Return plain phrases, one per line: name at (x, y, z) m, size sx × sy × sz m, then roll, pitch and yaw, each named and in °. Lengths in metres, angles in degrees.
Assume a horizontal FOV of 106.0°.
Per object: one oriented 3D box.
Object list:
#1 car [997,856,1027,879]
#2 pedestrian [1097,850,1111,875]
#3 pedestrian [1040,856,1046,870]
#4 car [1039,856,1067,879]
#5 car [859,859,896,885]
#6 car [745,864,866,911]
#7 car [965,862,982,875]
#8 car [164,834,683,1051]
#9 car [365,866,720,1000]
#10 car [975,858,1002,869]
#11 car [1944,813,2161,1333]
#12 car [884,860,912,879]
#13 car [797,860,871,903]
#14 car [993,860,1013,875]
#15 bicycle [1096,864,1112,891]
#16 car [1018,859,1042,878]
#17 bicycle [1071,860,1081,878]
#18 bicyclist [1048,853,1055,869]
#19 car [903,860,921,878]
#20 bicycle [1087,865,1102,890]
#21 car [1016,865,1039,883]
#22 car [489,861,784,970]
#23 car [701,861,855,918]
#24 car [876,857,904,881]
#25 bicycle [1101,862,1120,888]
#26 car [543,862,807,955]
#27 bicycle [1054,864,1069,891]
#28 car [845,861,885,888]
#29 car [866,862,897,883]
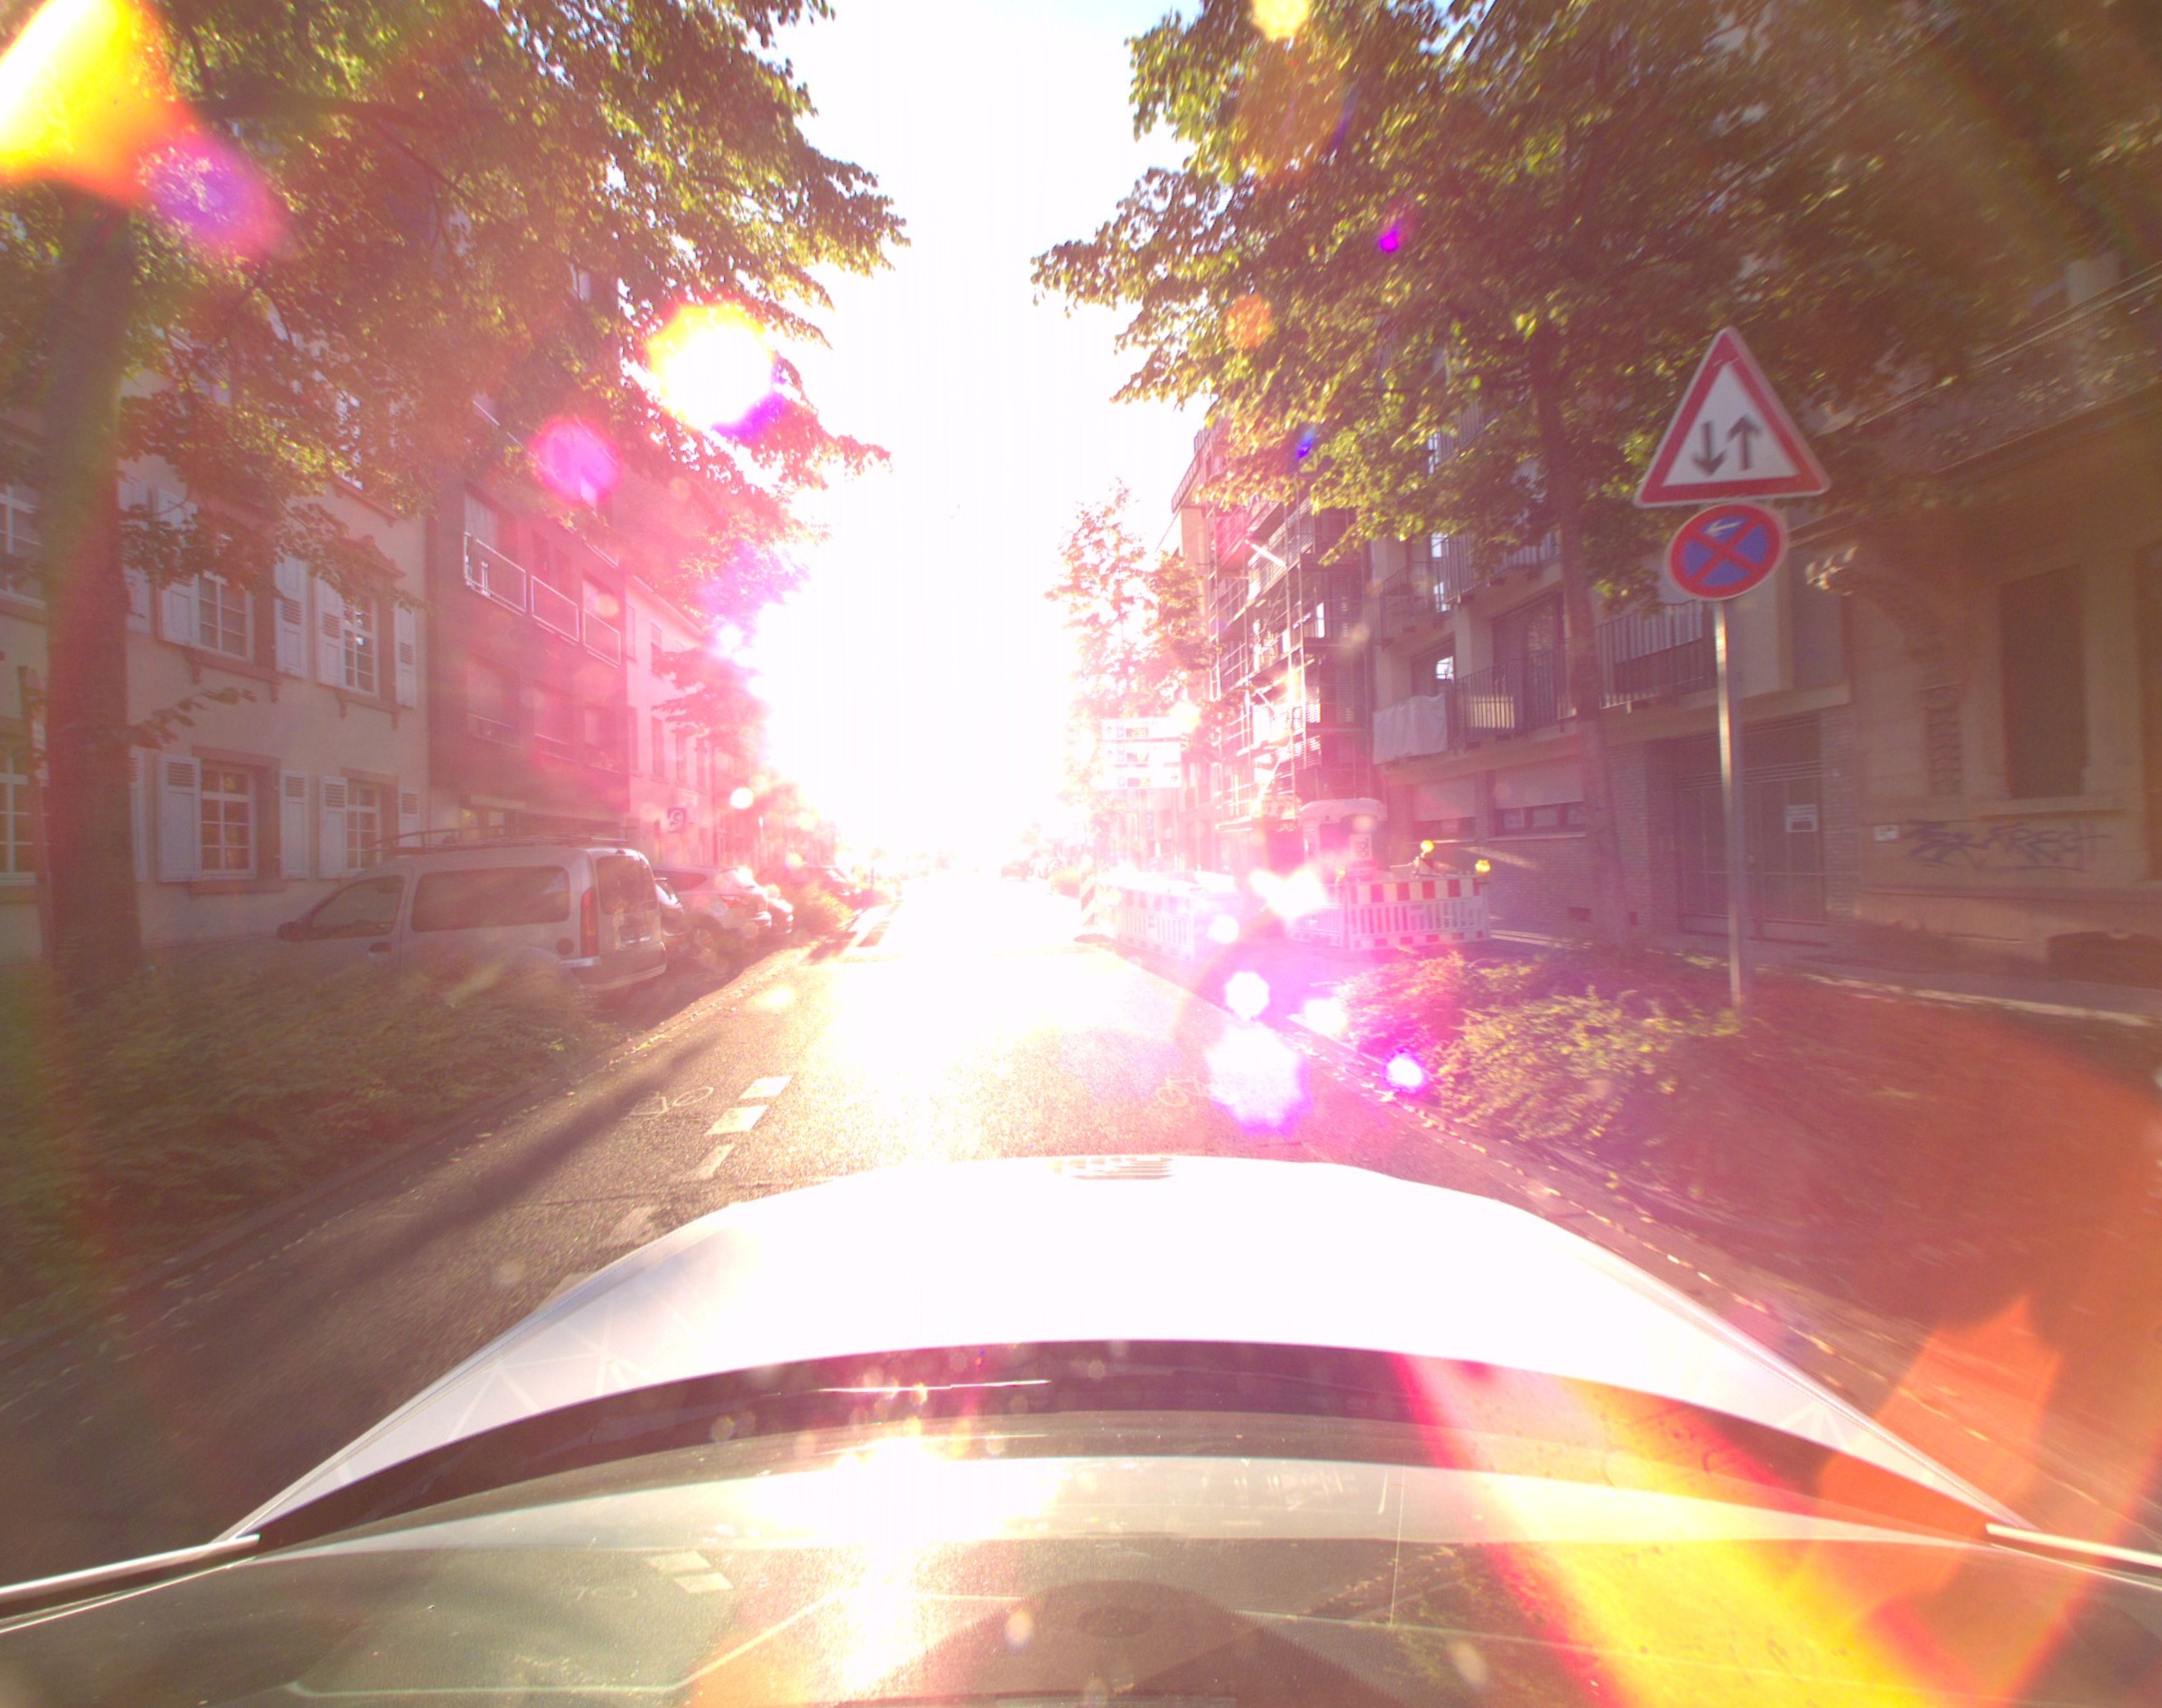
car at (-5.092, 0.987, 59.705) m, size 1.993 × 1.655 × 4.661 m, roll 0°, pitch -1°, yaw -7°
pedestrian at (1.615, 0.594, 56.602) m, size 0.810 × 1.646 × 0.604 m, roll -3°, pitch -1°, yaw -8°
pedestrian at (-4.793, 1.087, 102.526) m, size 0.686 × 1.721 × 0.716 m, roll -3°, pitch -1°, yaw -2°
car at (-2.030, 0.995, 59.005) m, size 1.633 × 1.553 × 2.685 m, roll -2°, pitch 0°, yaw -10°
car at (-13.434, 1.156, 53.924) m, size 1.772 × 1.633 × 4.227 m, roll -2°, pitch 0°, yaw -7°
car at (-8.897, 1.053, 26.491) m, size 3.392 × 1.392 × 1.683 m, roll -1°, pitch 0°, yaw -6°
car at (-12.672, 1.717, 96.082) m, size 1.882 × 1.415 × 4.313 m, roll -1°, pitch -1°, yaw -7°
car at (-6.463, 0.803, 8.396) m, size 3.804 × 1.849 × 1.697 m, roll -2°, pitch -1°, yaw -5°
car at (-7.138, 1.001, 11.099) m, size 3.641 × 1.515 × 1.647 m, roll -2°, pitch 0°, yaw -3°
car at (-13.650, 1.417, 120.325) m, size 3.640 × 1.483 × 1.616 m, roll -2°, pitch 1°, yaw -38°
car at (5.335, 0.514, 2.107) m, size 4.520 × 1.479 × 1.864 m, roll -3°, pitch 0°, yaw -6°
car at (-16.553, 1.371, 73.901) m, size 1.825 × 1.556 × 5.123 m, roll -3°, pitch 0°, yaw -7°
car at (-10.158, 1.101, 33.611) m, size 2.695 × 1.520 × 1.566 m, roll -3°, pitch 1°, yaw -11°
car at (-8.087, 1.378, 84.170) m, size 1.920 × 1.415 × 4.536 m, roll 1°, pitch -1°, yaw -7°
bicycle at (1.052, 1.063, 37.309) m, size 0.382 × 1.189 × 1.517 m, roll -1°, pitch -1°, yaw -11°
car at (-4.135, 1.133, 65.741) m, size 1.632 × 1.424 × 3.746 m, roll -2°, pitch 0°, yaw -8°
bicycle at (-0.357, 1.058, 58.304) m, size 0.397 × 1.234 × 1.819 m, roll -2°, pitch 0°, yaw -10°
bicyclist at (-3.205, 0.721, 88.824) m, size 0.650 × 1.702 × 1.092 m, roll -2°, pitch -1°, yaw -8°
car at (-18.448, 1.656, 89.043) m, size 1.834 × 1.854 × 4.108 m, roll -1°, pitch -1°, yaw -11°
bicycle at (0.614, 1.071, 37.242) m, size 0.382 × 1.100 × 1.517 m, roll -1°, pitch -1°, yaw -11°
car at (-4.811, 1.775, 72.655) m, size 1.702 × 1.436 × 3.921 m, roll -4°, pitch 0°, yaw -7°
car at (-7.061, 0.938, 13.298) m, size 3.819 × 1.585 × 1.738 m, roll -1°, pitch -1°, yaw -5°
car at (-8.810, 1.013, 23.973) m, size 3.890 × 1.517 × 1.852 m, roll -1°, pitch 0°, yaw -8°
car at (-15.735, 1.218, 67.327) m, size 1.827 × 1.810 × 5.330 m, roll -3°, pitch 0°, yaw -10°
bicycle at (1.280, 0.914, 35.992) m, size 0.382 × 1.100 × 1.515 m, roll -2°, pitch 0°, yaw -14°
car at (-7.695, 0.990, 15.850) m, size 4.210 × 1.516 × 1.755 m, roll -2°, pitch -1°, yaw -11°
bicycle at (-0.846, 0.994, 34.763) m, size 0.382 × 1.100 × 1.517 m, roll -2°, pitch 0°, yaw -11°
car at (-13.006, 1.184, 49.268) m, size 1.772 × 1.515 × 3.940 m, roll -1°, pitch 0°, yaw -7°
car at (-14.976, 1.373, 61.202) m, size 1.712 × 1.440 × 4.298 m, roll -3°, pitch 0°, yaw -8°
